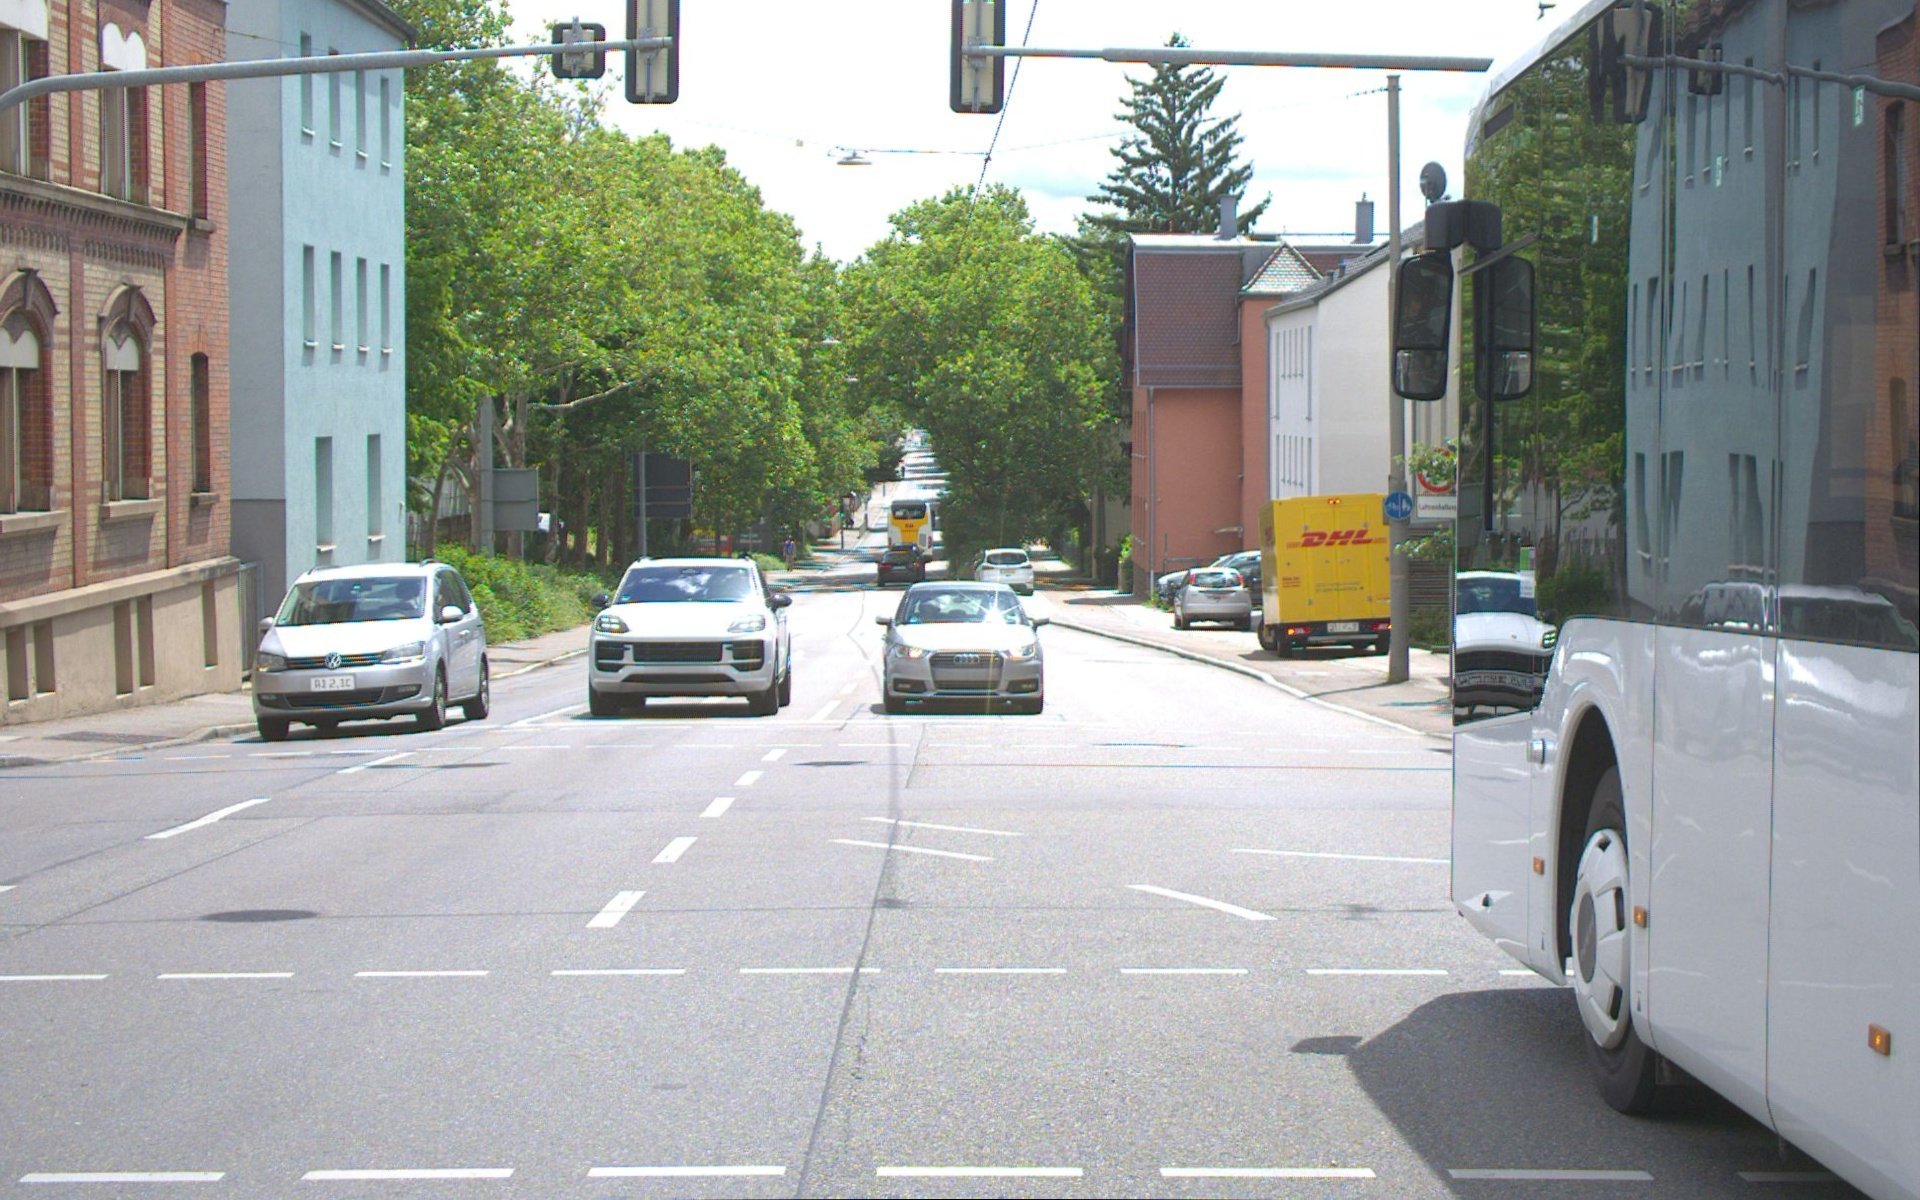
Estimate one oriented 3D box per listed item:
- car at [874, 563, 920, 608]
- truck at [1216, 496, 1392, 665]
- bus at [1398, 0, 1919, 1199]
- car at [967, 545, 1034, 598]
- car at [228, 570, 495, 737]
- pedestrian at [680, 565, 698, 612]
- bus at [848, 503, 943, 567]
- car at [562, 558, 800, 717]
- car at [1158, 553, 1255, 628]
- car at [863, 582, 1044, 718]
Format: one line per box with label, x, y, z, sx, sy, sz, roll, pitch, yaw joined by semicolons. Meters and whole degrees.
car;-2.581;-0.610;141.370;1.819;1.778;4.000;-1;1;0
truck;6.241;-0.364;63.236;2.541;2.903;6.572;1;0;0
bus;3.047;-0.240;6.029;2.904;3.498;12.488;1;0;0
car;1.395;-1.011;120.955;2.091;1.824;4.143;0;1;-3
car;-5.991;0.492;34.926;1.935;1.558;4.389;-1;1;0
pedestrian;-10.121;-0.433;128.605;0.606;1.752;0.654;-1;1;-1
bus;-3.880;-3.758;202.306;3.299;3.618;11.248;-1;1;-13
car;-2.964;0.360;37.515;2.207;1.607;4.547;-1;1;0
car;6.021;-0.251;84.320;1.910;1.810;4.000;0;1;-2
car;-0.070;0.504;37.887;1.865;1.363;4.547;-1;1;0
